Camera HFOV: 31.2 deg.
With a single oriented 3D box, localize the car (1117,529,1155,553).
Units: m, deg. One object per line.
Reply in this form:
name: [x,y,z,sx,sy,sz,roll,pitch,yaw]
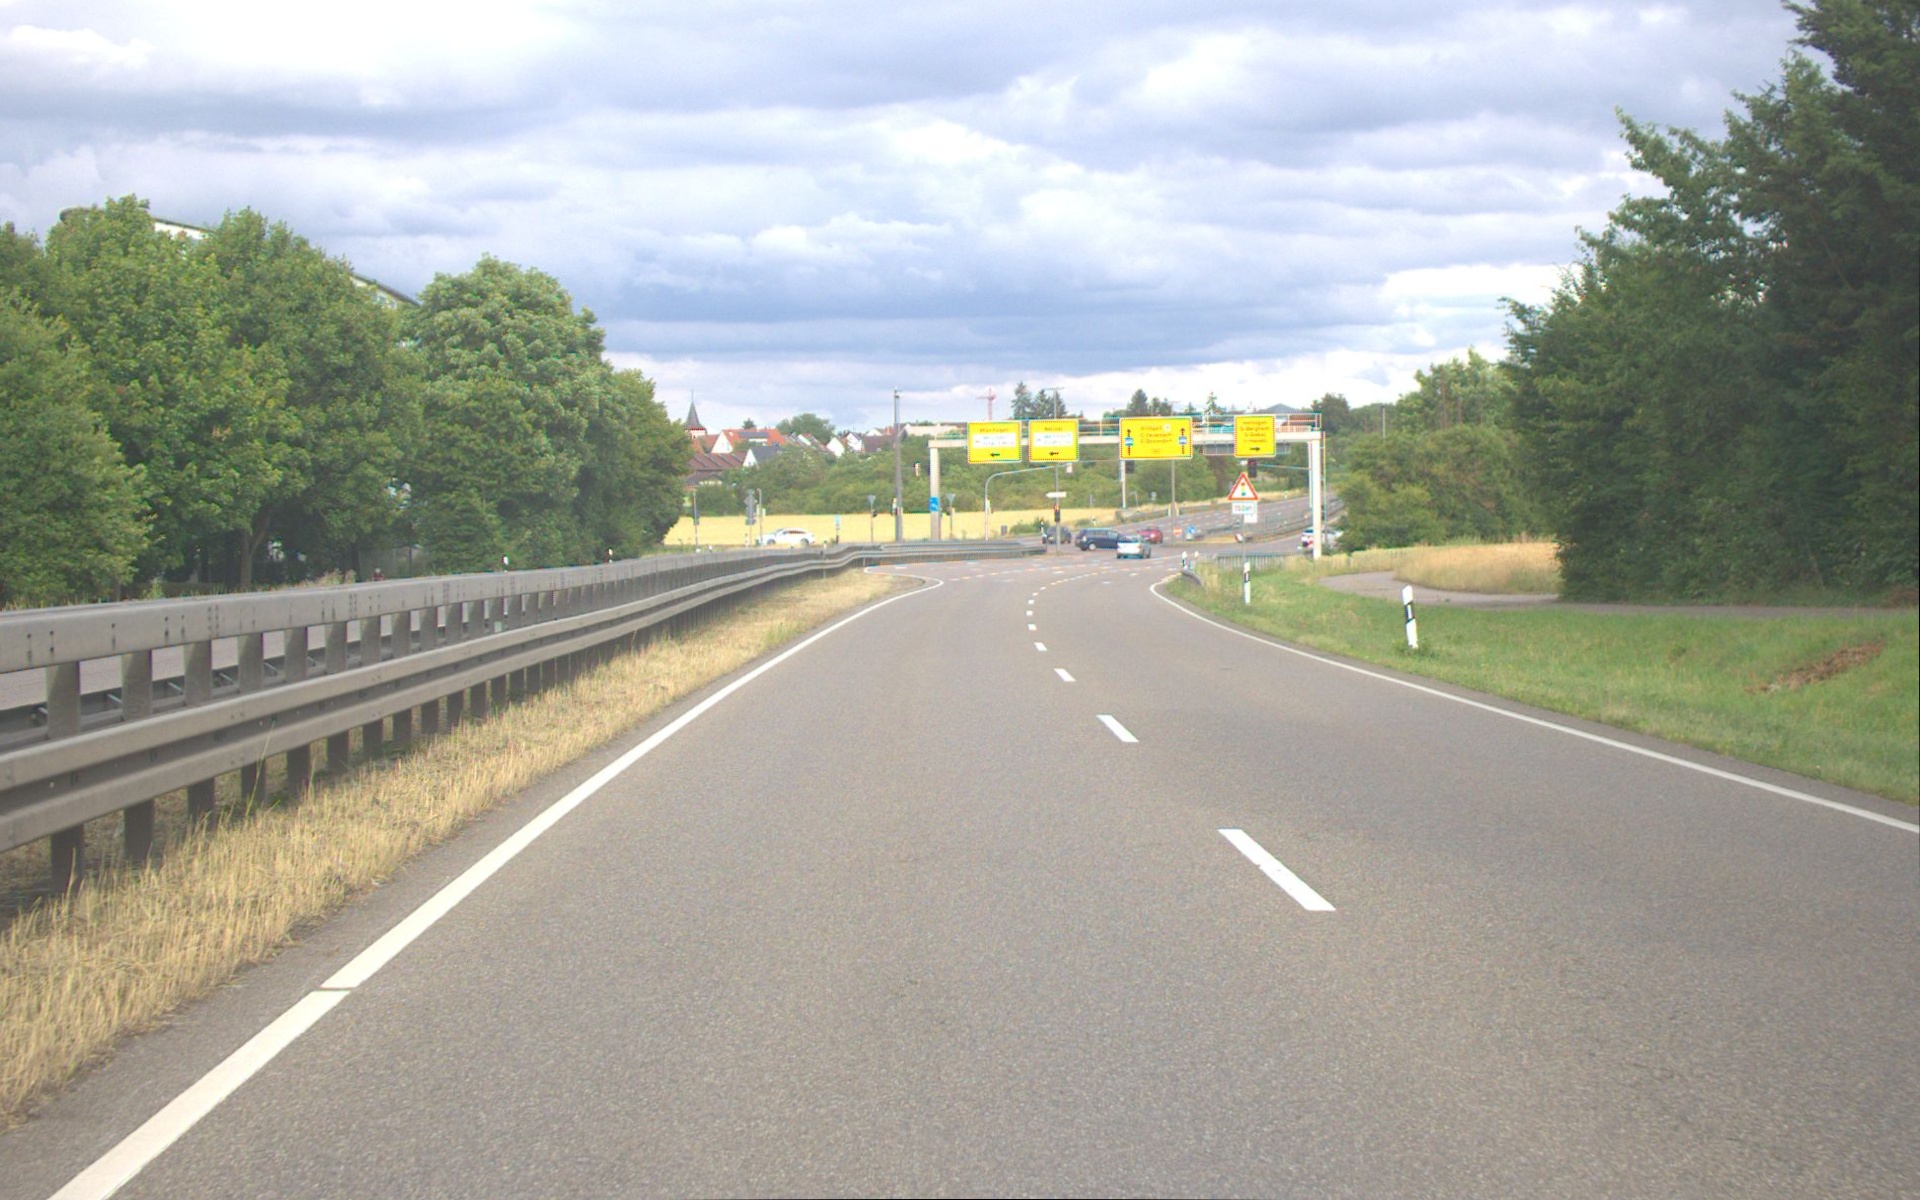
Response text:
car: [11.463,-3.840,223.374,1.799,1.551,3.998,0,1,13]
